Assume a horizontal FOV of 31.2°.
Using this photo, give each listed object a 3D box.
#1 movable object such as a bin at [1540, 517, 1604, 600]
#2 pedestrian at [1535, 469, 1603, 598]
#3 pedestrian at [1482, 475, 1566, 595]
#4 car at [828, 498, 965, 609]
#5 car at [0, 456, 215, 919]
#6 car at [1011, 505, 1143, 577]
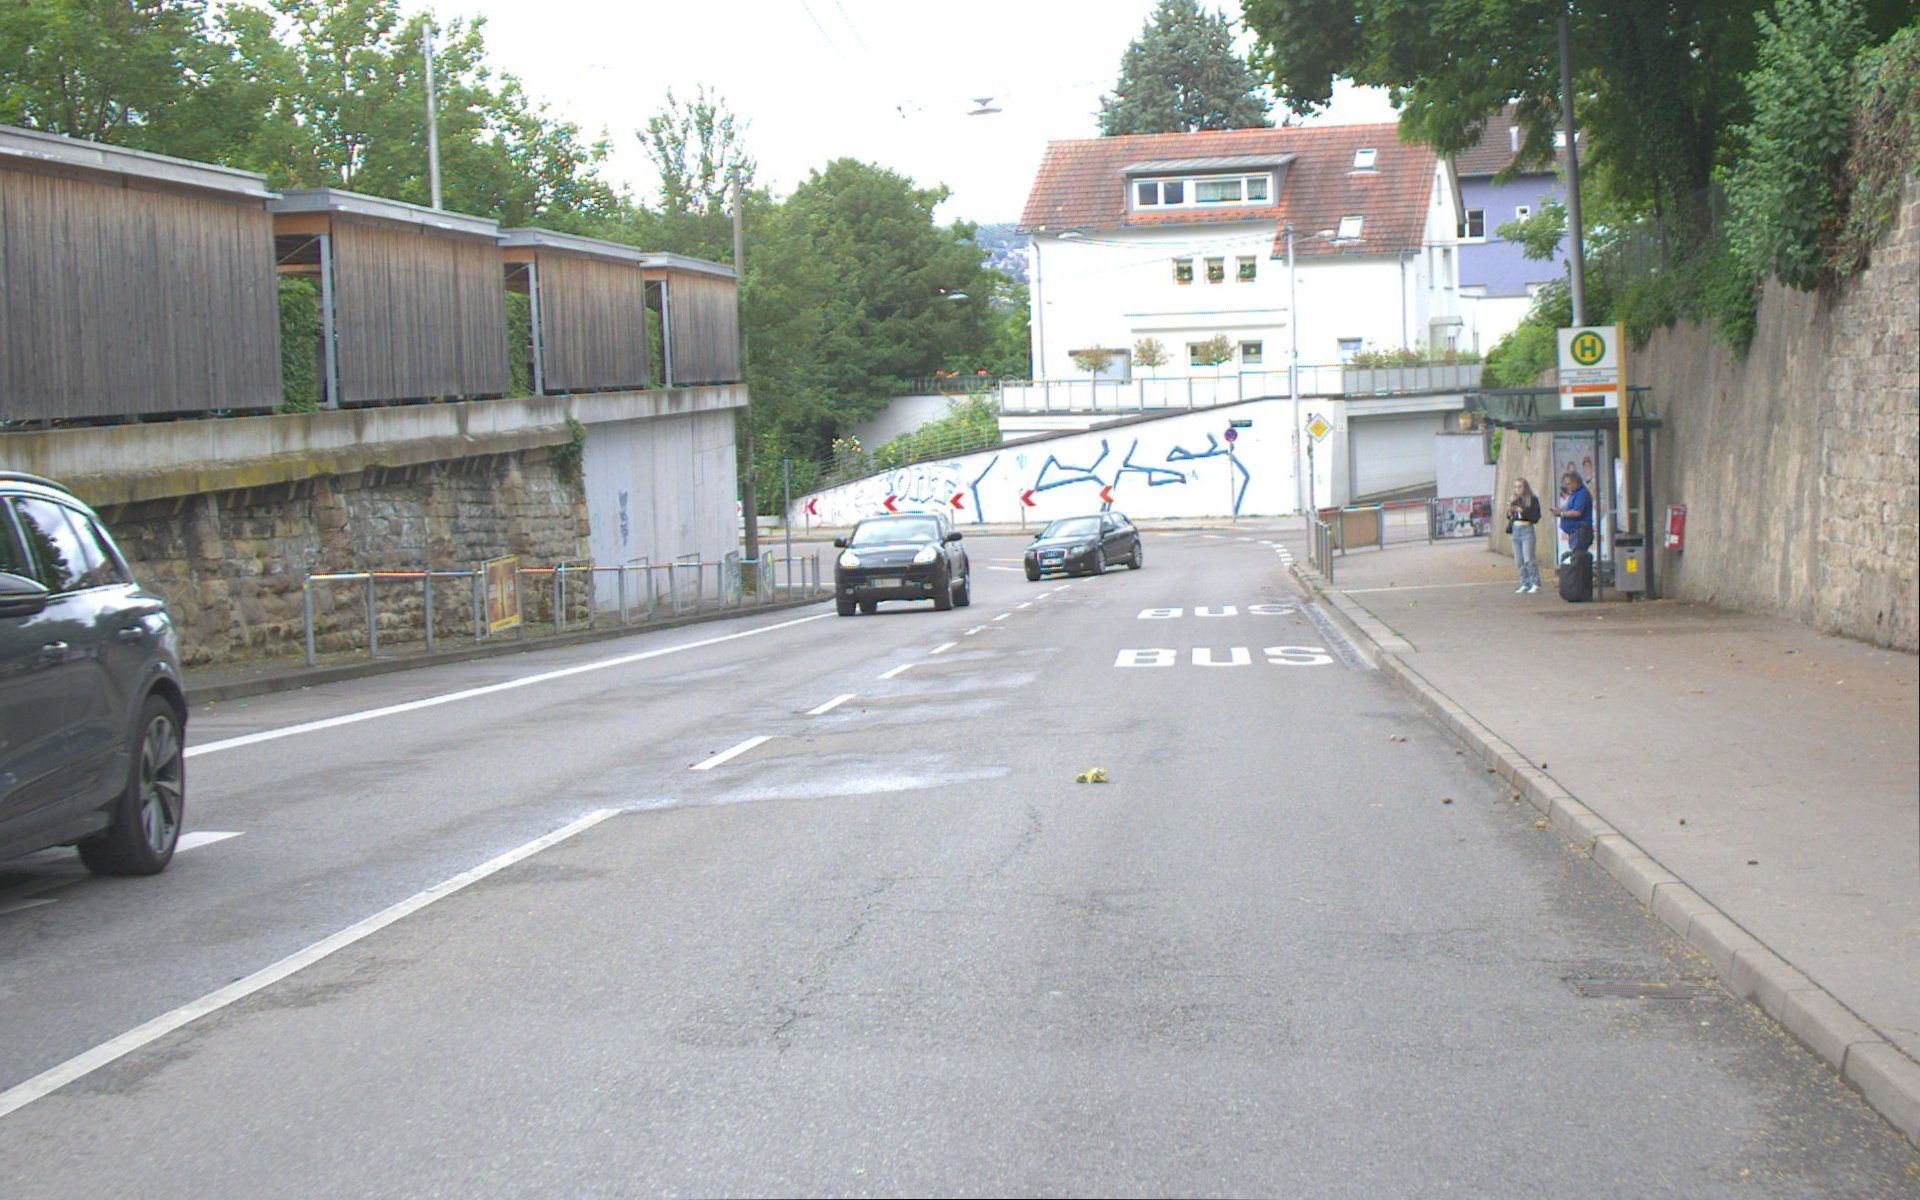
[{"bbox_3d":[7.814,-0.533,43.919,0.674,1.016,0.627,-2,2,-1],"label":"movable object such as a bin"},{"bbox_3d":[7.903,-0.867,44.603,0.721,1.637,0.631,-2,1,0],"label":"pedestrian"},{"bbox_3d":[7.697,-0.887,46.921,0.771,1.582,0.737,-5,3,-44],"label":"pedestrian"},{"bbox_3d":[-1.041,-0.810,58.726,1.894,1.750,4.437,-2,1,4],"label":"car"},{"bbox_3d":[-4.297,0.292,12.715,1.922,1.624,4.522,0,1,2],"label":"car"},{"bbox_3d":[2.710,-1.358,78.617,1.736,1.527,3.996,-2,1,21],"label":"car"}]
